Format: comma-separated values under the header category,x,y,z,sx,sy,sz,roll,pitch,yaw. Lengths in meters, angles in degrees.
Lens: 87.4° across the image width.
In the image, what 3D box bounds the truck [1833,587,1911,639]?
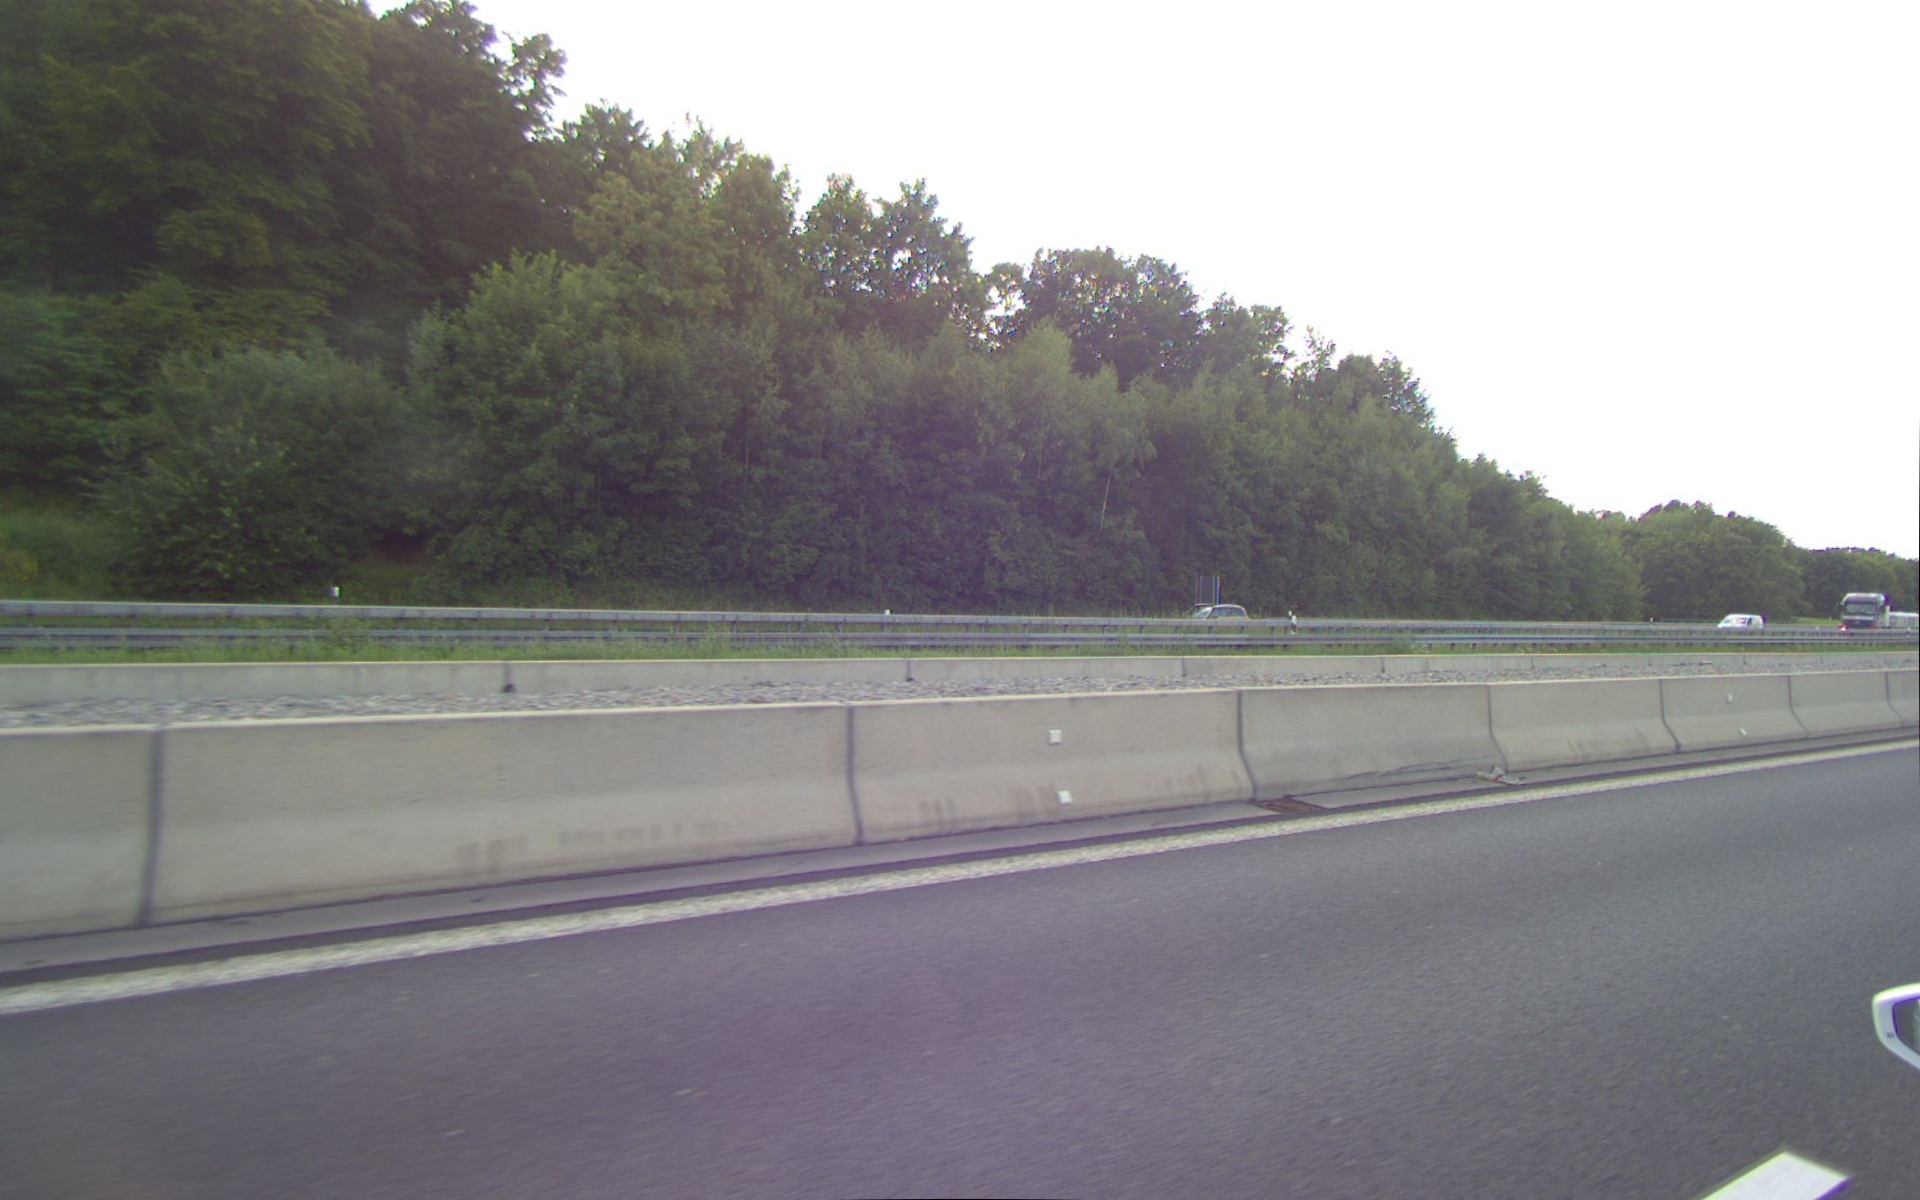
category,x,y,z,sx,sy,sz,roll,pitch,yaw
truck,71.508,1.005,78.736,7.053,3.878,2.793,1,0,-33

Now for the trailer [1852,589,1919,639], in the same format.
category,x,y,z,sx,sy,sz,roll,pitch,yaw
trailer,77.111,1.201,82.279,12.054,3.858,2.797,2,0,-33
